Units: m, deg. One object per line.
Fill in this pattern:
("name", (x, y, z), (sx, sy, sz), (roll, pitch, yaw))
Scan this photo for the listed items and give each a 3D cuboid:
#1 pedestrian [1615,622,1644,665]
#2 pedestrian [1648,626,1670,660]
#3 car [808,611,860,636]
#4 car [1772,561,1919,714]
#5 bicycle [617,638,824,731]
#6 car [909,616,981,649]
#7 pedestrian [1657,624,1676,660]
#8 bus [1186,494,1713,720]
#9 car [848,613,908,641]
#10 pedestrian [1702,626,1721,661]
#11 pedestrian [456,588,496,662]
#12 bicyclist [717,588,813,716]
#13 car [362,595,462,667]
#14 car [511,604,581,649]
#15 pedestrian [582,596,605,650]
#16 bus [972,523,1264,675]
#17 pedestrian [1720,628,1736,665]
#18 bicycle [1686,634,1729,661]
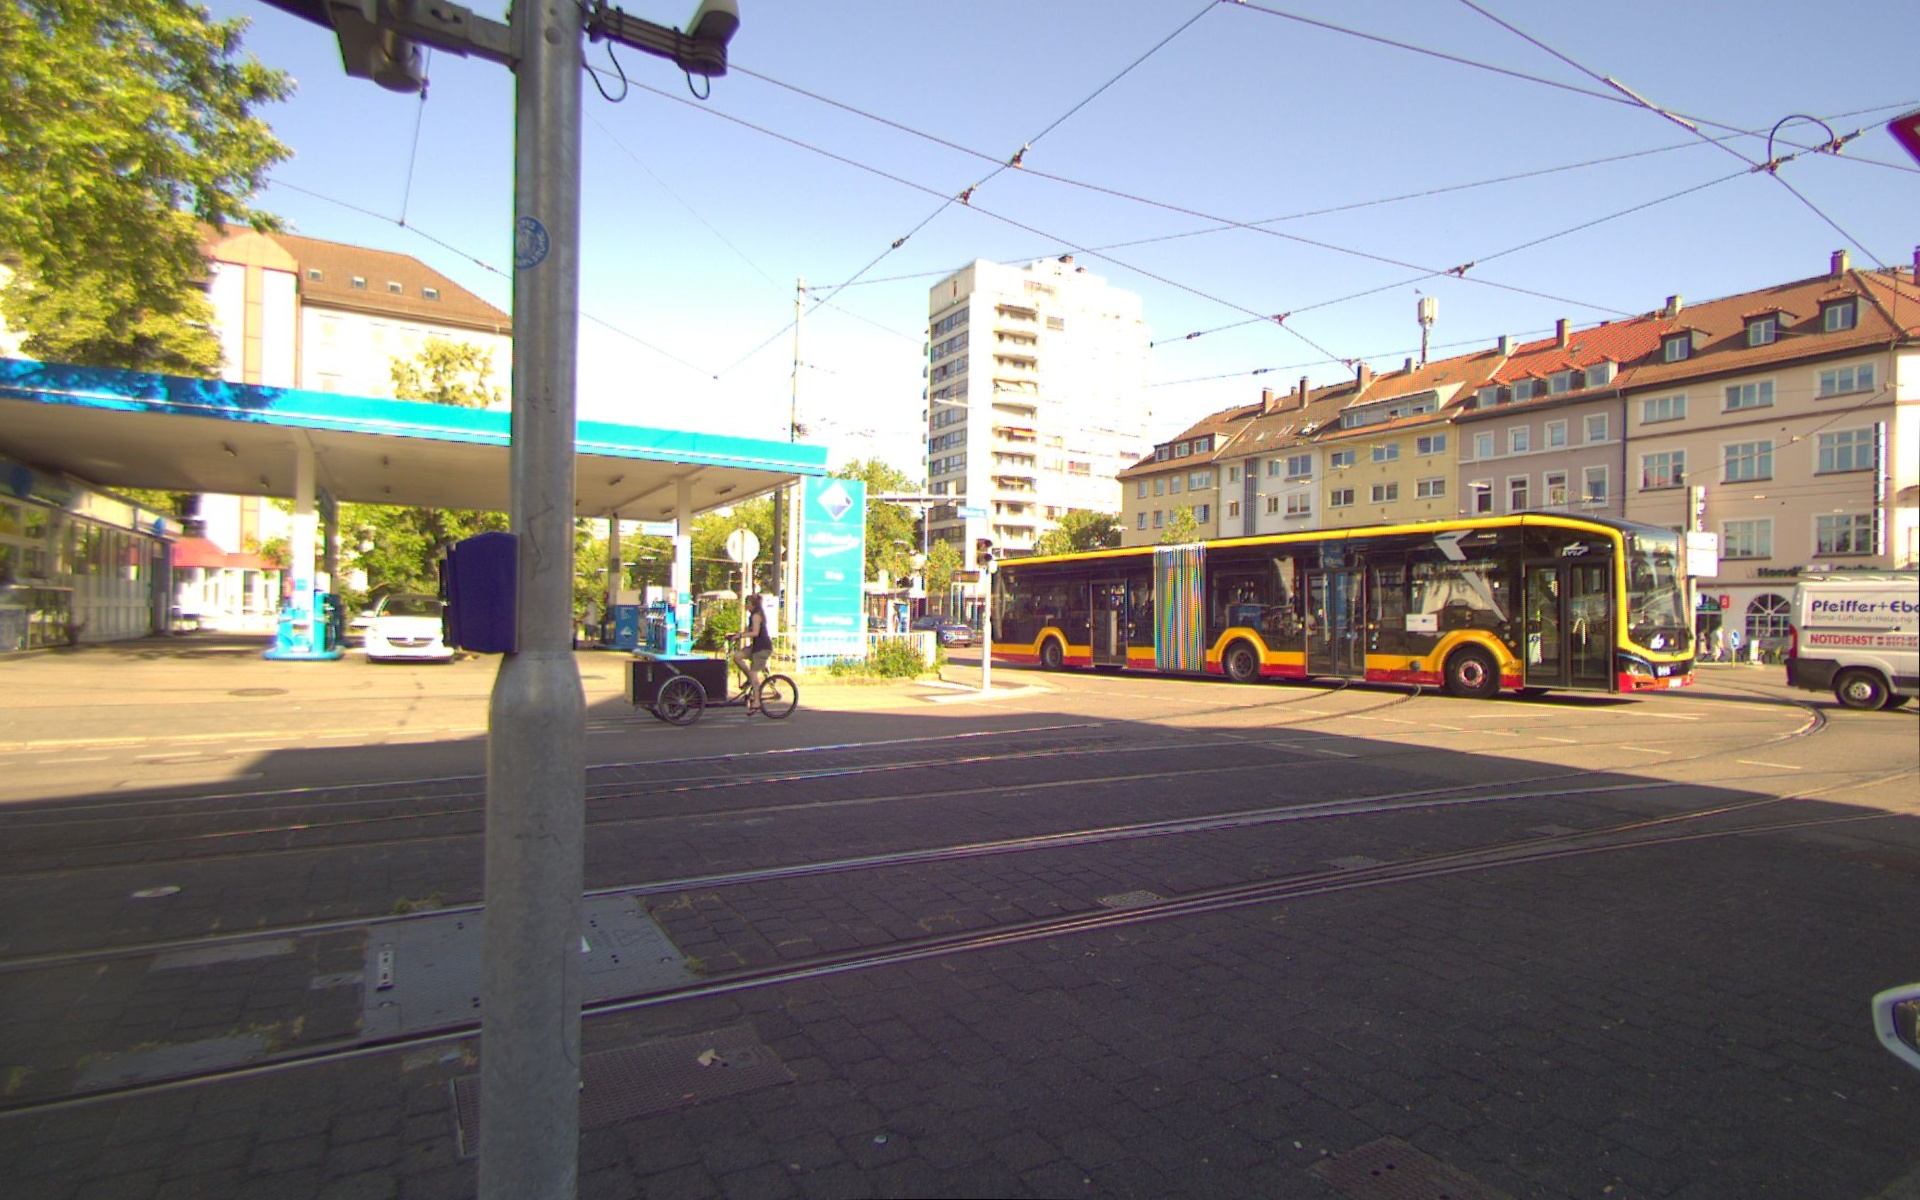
("pedestrian", (26.511, 1.713, 39.780), (0.621, 1.704, 0.737), (1, -1, -30))
("pedestrian", (35.774, 2.195, 51.407), (0.733, 1.704, 0.624), (1, -1, -27))
("car", (-7.620, 1.389, 60.316), (1.697, 1.439, 4.149), (1, -1, -28))
("car", (16.709, 0.625, 16.363), (2.061, 2.465, 5.076), (2, -1, -36))
("bicycle", (-3.176, 1.077, 13.388), (2.490, 1.116, 1.051), (1, -1, -30))
("car", (-0.781, 1.525, 47.870), (1.697, 1.439, 4.149), (1, -1, -28))
("pedestrian", (33.896, 2.022, 48.179), (0.731, 1.704, 0.626), (0, -1, 35))
("bus", (9.049, 0.055, 20.197), (2.752, 3.504, 9.347), (0, 1, -35))
("car", (-4.493, 1.437, 54.306), (1.697, 1.439, 4.149), (1, -1, -28))
("pedestrian", (36.644, 2.108, 48.981), (0.731, 1.704, 0.626), (0, -1, 35))
("pedestrian", (-11.387, 0.579, 23.639), (0.753, 1.715, 0.581), (1, -1, -34))
("bicyclist", (-2.668, 0.687, 13.704), (1.016, 1.659, 0.927), (1, -1, -30))
("car", (-12.363, 0.662, 22.558), (1.793, 1.461, 3.966), (1, -1, -31))
("car", (-13.584, 0.847, 32.879), (1.697, 1.360, 3.970), (1, -1, -28))
("pedestrian", (-11.734, 0.743, 32.153), (0.579, 1.715, 0.756), (1, -1, -25))
("bus", (3.938, -0.075, 27.511), (2.759, 3.504, 8.557), (0, 1, -35))
("pedestrian", (26.956, 1.629, 35.275), (0.447, 1.270, 0.361), (1, -1, -41))
("bicycle", (37.580, 2.356, 50.502), (1.693, 1.293, 0.385), (0, -1, 44))
